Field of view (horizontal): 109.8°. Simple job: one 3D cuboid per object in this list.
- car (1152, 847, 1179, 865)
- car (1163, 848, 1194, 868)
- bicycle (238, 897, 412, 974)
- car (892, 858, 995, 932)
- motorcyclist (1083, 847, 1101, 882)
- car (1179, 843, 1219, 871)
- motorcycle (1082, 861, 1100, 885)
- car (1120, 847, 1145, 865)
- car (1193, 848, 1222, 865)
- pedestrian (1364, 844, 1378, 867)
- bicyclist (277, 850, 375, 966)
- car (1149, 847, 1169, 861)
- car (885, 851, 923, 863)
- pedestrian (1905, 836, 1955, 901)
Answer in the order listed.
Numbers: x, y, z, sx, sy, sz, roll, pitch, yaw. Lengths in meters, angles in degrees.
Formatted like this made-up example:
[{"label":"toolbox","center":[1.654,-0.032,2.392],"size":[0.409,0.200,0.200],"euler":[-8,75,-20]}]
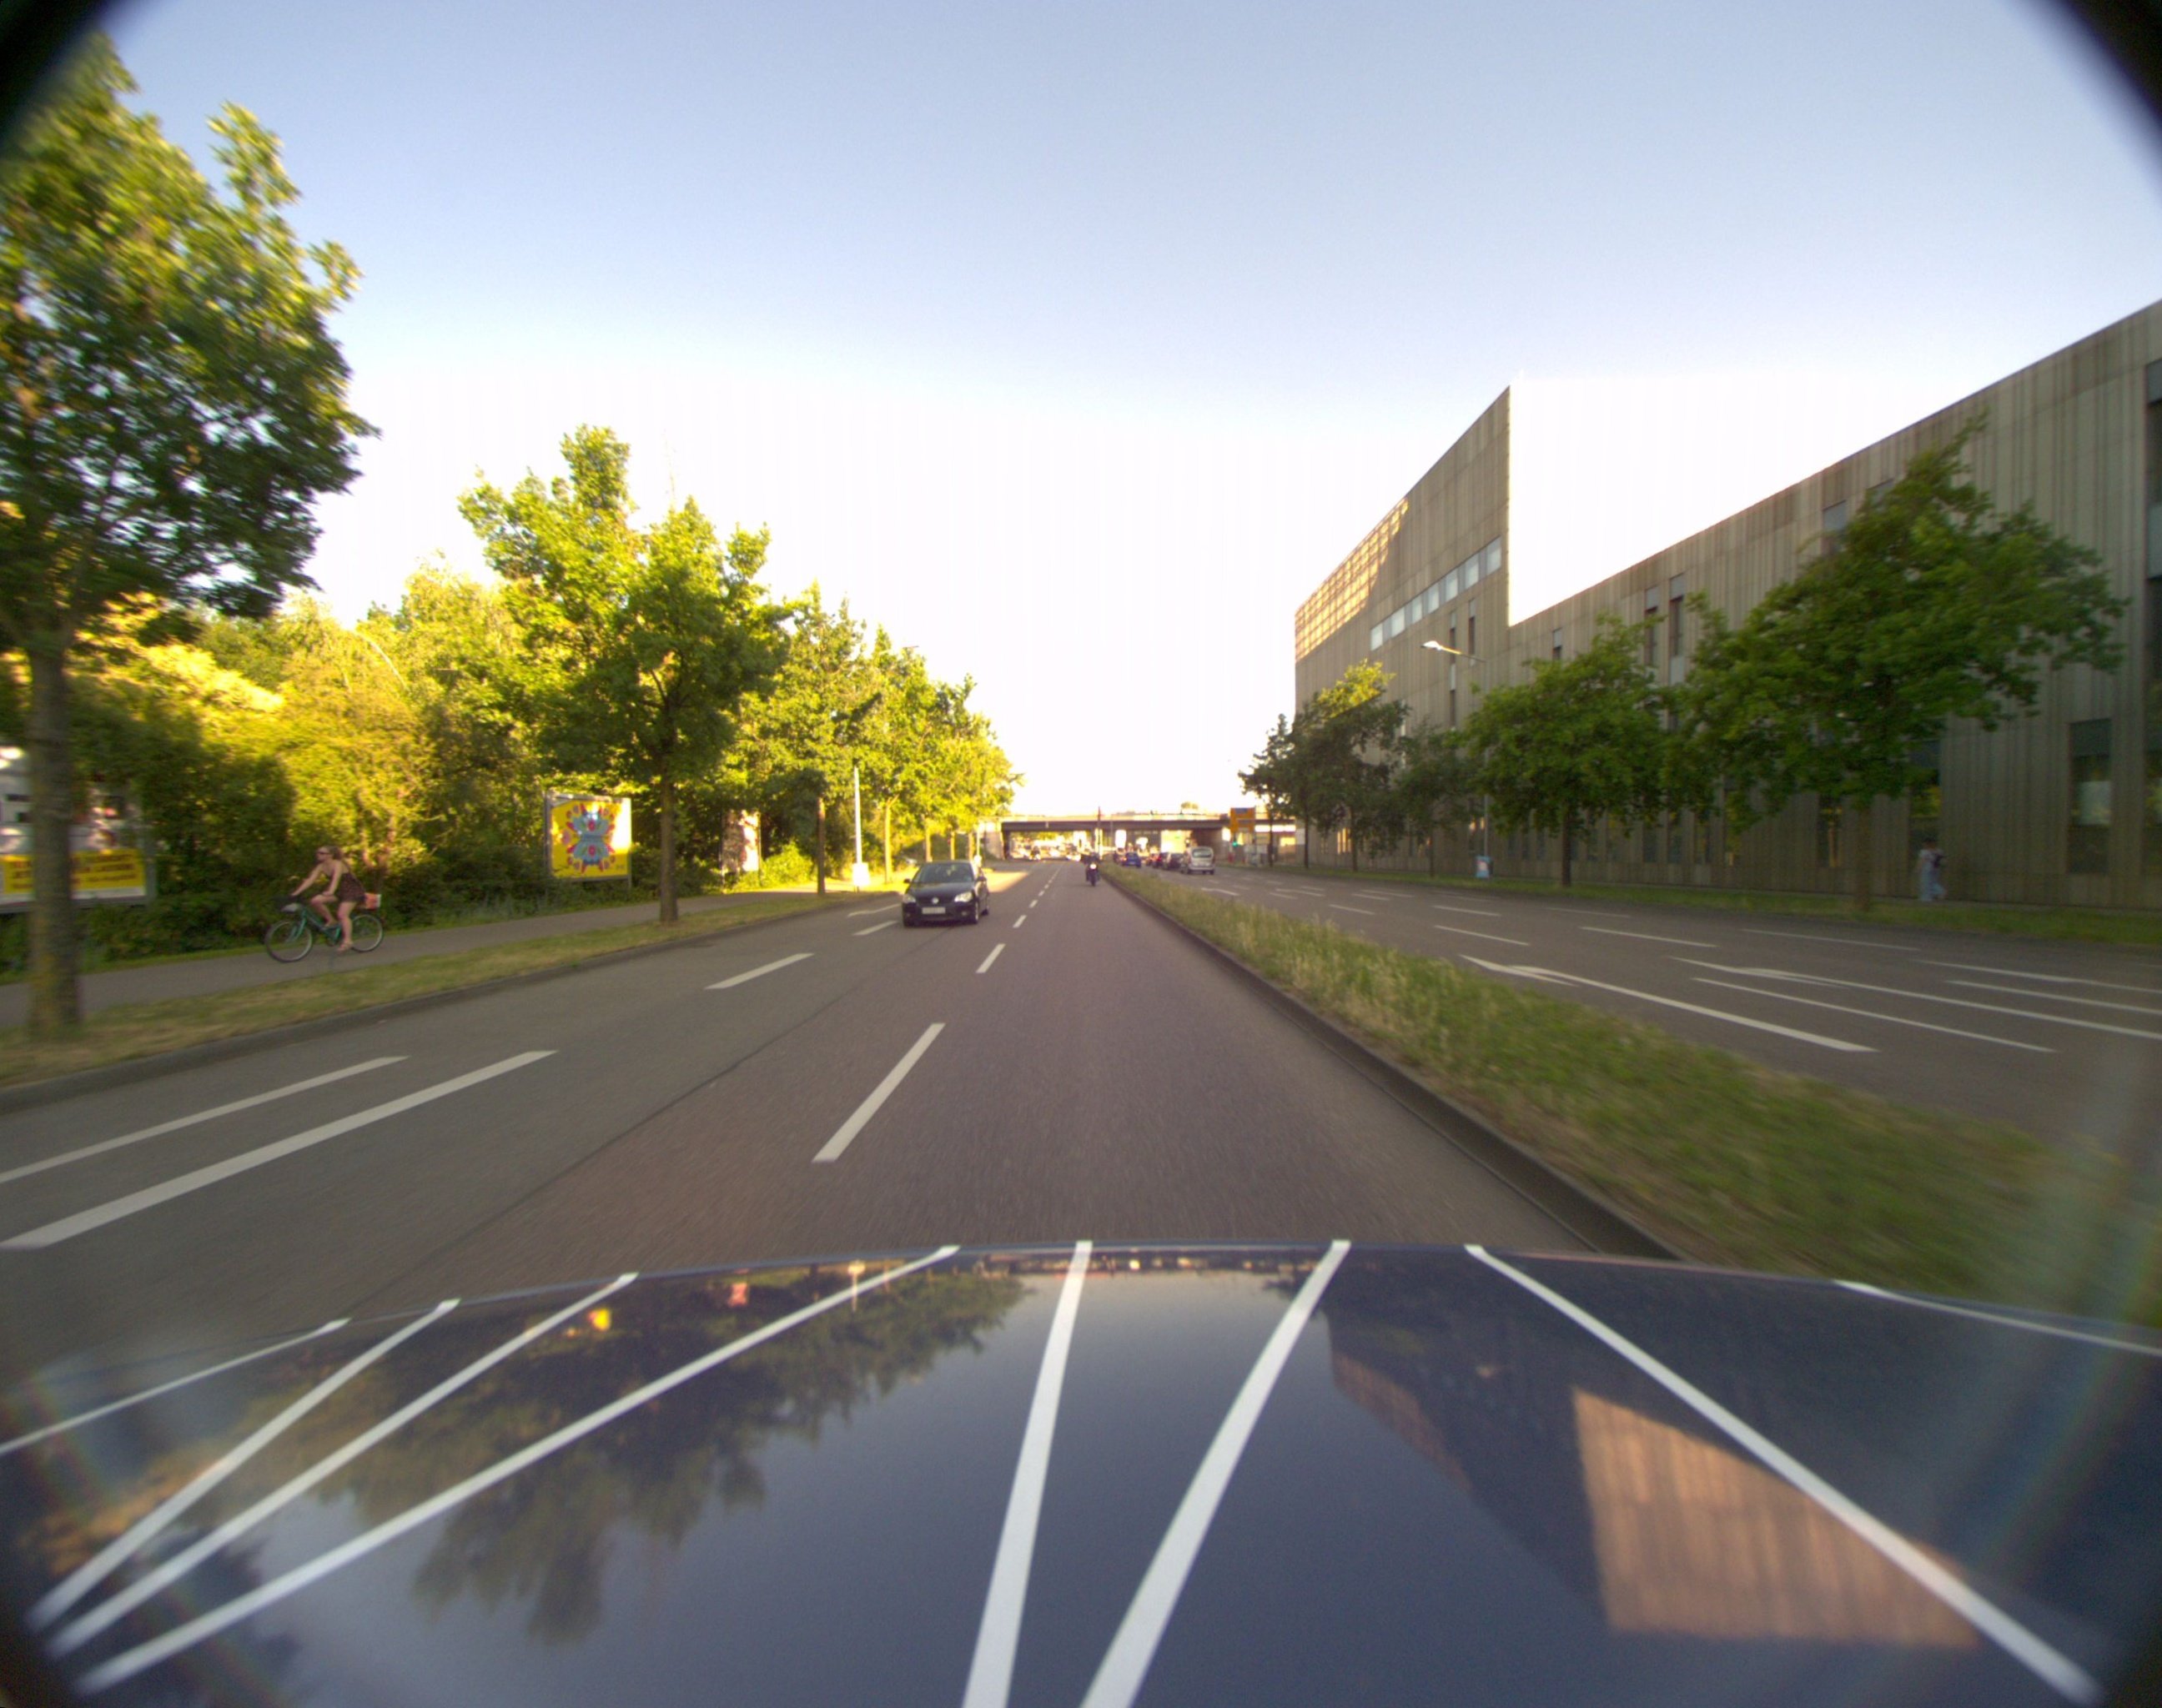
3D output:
[{"label":"car","center":[7.571,0.146,68.092],"size":[1.930,1.510,3.999],"euler":[0,1,0]},{"label":"car","center":[7.667,0.260,59.867],"size":[1.930,1.510,4.290],"euler":[0,1,1]},{"label":"bicycle","center":[-11.736,1.224,11.918],"size":[0.618,0.968,2.058],"euler":[-1,1,1]},{"label":"car","center":[-3.124,0.877,18.040],"size":[1.726,1.490,4.213],"euler":[-2,0,-2]},{"label":"motorcyclist","center":[0.480,0.439,33.478],"size":[0.734,1.503,0.918],"euler":[0,1,-2]},{"label":"car","center":[7.867,0.169,51.031],"size":[1.998,1.805,4.400],"euler":[0,1,1]},{"label":"motorcycle","center":[0.461,0.857,35.024],"size":[0.749,0.978,2.139],"euler":[0,1,-2]},{"label":"car","center":[4.619,0.142,68.513],"size":[1.841,1.510,3.951],"euler":[0,1,-1]},{"label":"car","center":[11.528,0.163,69.521],"size":[1.850,1.464,4.814],"euler":[1,1,0]},{"label":"pedestrian","center":[20.423,0.091,53.497],"size":[0.698,1.619,0.725],"euler":[-1,1,-1]},{"label":"bicyclist","center":[-11.739,0.812,11.841],"size":[0.604,1.723,0.848],"euler":[-1,1,1]},{"label":"car","center":[7.914,0.001,77.318],"size":[1.696,1.425,3.771],"euler":[0,1,0]},{"label":"car","center":[-22.277,0.356,95.916],"size":[4.286,1.510,1.932],"euler":[0,1,3]},{"label":"pedestrian","center":[23.054,0.385,20.645],"size":[0.604,1.757,0.649],"euler":[-1,1,1]}]
